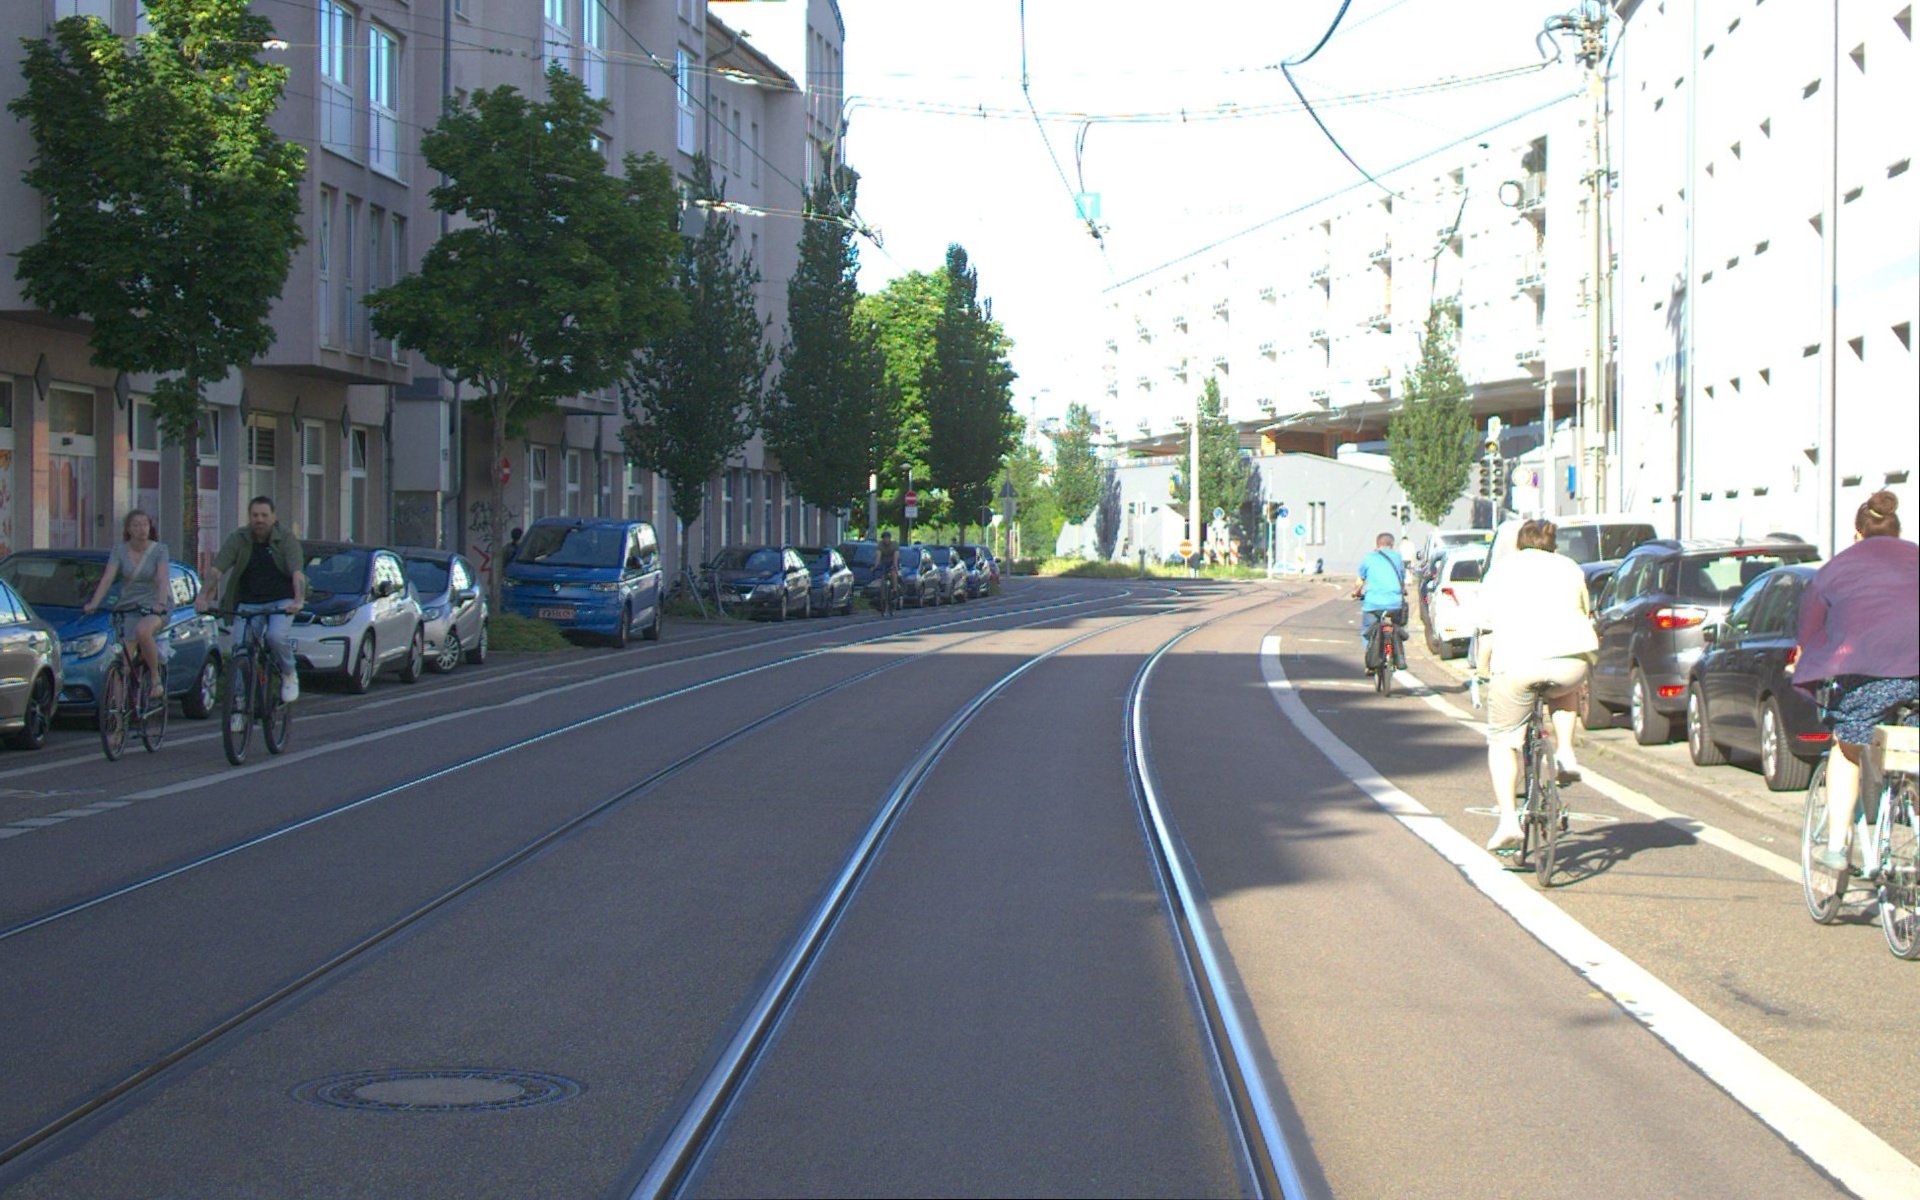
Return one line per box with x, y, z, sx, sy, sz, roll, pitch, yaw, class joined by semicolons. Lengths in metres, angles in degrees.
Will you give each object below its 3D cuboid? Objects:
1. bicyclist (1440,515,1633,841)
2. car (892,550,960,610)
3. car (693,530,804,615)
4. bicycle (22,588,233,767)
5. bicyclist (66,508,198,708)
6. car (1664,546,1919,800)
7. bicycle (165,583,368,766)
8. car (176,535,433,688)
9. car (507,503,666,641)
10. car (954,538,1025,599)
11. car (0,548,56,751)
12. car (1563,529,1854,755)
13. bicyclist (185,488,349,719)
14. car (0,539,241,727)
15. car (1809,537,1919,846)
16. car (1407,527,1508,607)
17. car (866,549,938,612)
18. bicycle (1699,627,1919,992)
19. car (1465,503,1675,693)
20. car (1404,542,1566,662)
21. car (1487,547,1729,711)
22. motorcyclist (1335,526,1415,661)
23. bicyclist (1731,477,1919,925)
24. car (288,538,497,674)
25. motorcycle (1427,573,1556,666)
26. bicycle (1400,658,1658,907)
2.658;0.339;15.940;0.727;1.457;1.021;1;1;1;bicyclist
-0.880;-0.541;90.314;1.592;1.535;3.191;0;1;3;car
-4.097;-0.560;67.159;1.665;1.612;4.000;1;1;4;car
-5.964;0.532;24.769;0.839;1.145;2.233;-4;1;2;bicycle
-5.962;0.048;24.793;0.623;1.376;0.868;-4;1;2;bicyclist
5.914;0.426;23.454;1.592;1.532;4.007;-2;1;4;car
-4.863;0.496;24.275;0.839;1.145;2.233;-4;1;2;bicycle
-7.167;0.080;37.989;1.830;1.588;4.000;0;1;4;car
-5.612;-0.448;52.063;1.665;1.980;4.342;1;1;4;car
0.854;-0.901;96.338;1.844;1.640;3.697;0;1;3;car
-7.769;0.345;23.952;1.744;1.438;4.000;3;1;2;car
6.143;0.285;28.596;1.660;1.664;3.904;-3;1;3;car
-4.873;0.016;24.218;0.882;1.556;0.868;-3;1;2;bicyclist
-7.662;0.242;29.932;1.830;1.484;4.000;-2;1;2;car
5.843;0.437;18.407;1.754;1.565;3.904;-3;1;3;car
11.247;-0.763;77.966;1.844;1.750;4.548;0;1;3;car
-1.438;-0.500;86.222;1.592;1.535;3.191;0;1;3;car
3.587;0.768;13.550;0.821;1.232;2.462;2;1;1;bicycle
6.736;-0.060;38.345;1.787;1.964;4.154;-1;1;3;car
7.557;-0.008;49.837;1.844;1.640;4.548;0;1;3;car
6.232;0.239;33.429;1.796;1.478;3.778;0;1;3;car
4.394;-0.079;36.450;0.727;1.401;1.021;1;1;1;motorcyclist
3.565;0.370;13.308;0.934;1.670;0.969;1;1;1;bicyclist
-6.978;0.032;42.647;1.830;1.588;4.000;0;1;2;car
6.787;0.240;43.950;0.490;1.140;1.770;0;1;-37;motorcycle
2.625;0.807;16.174;0.738;0.921;2.836;3;1;1;bicycle
